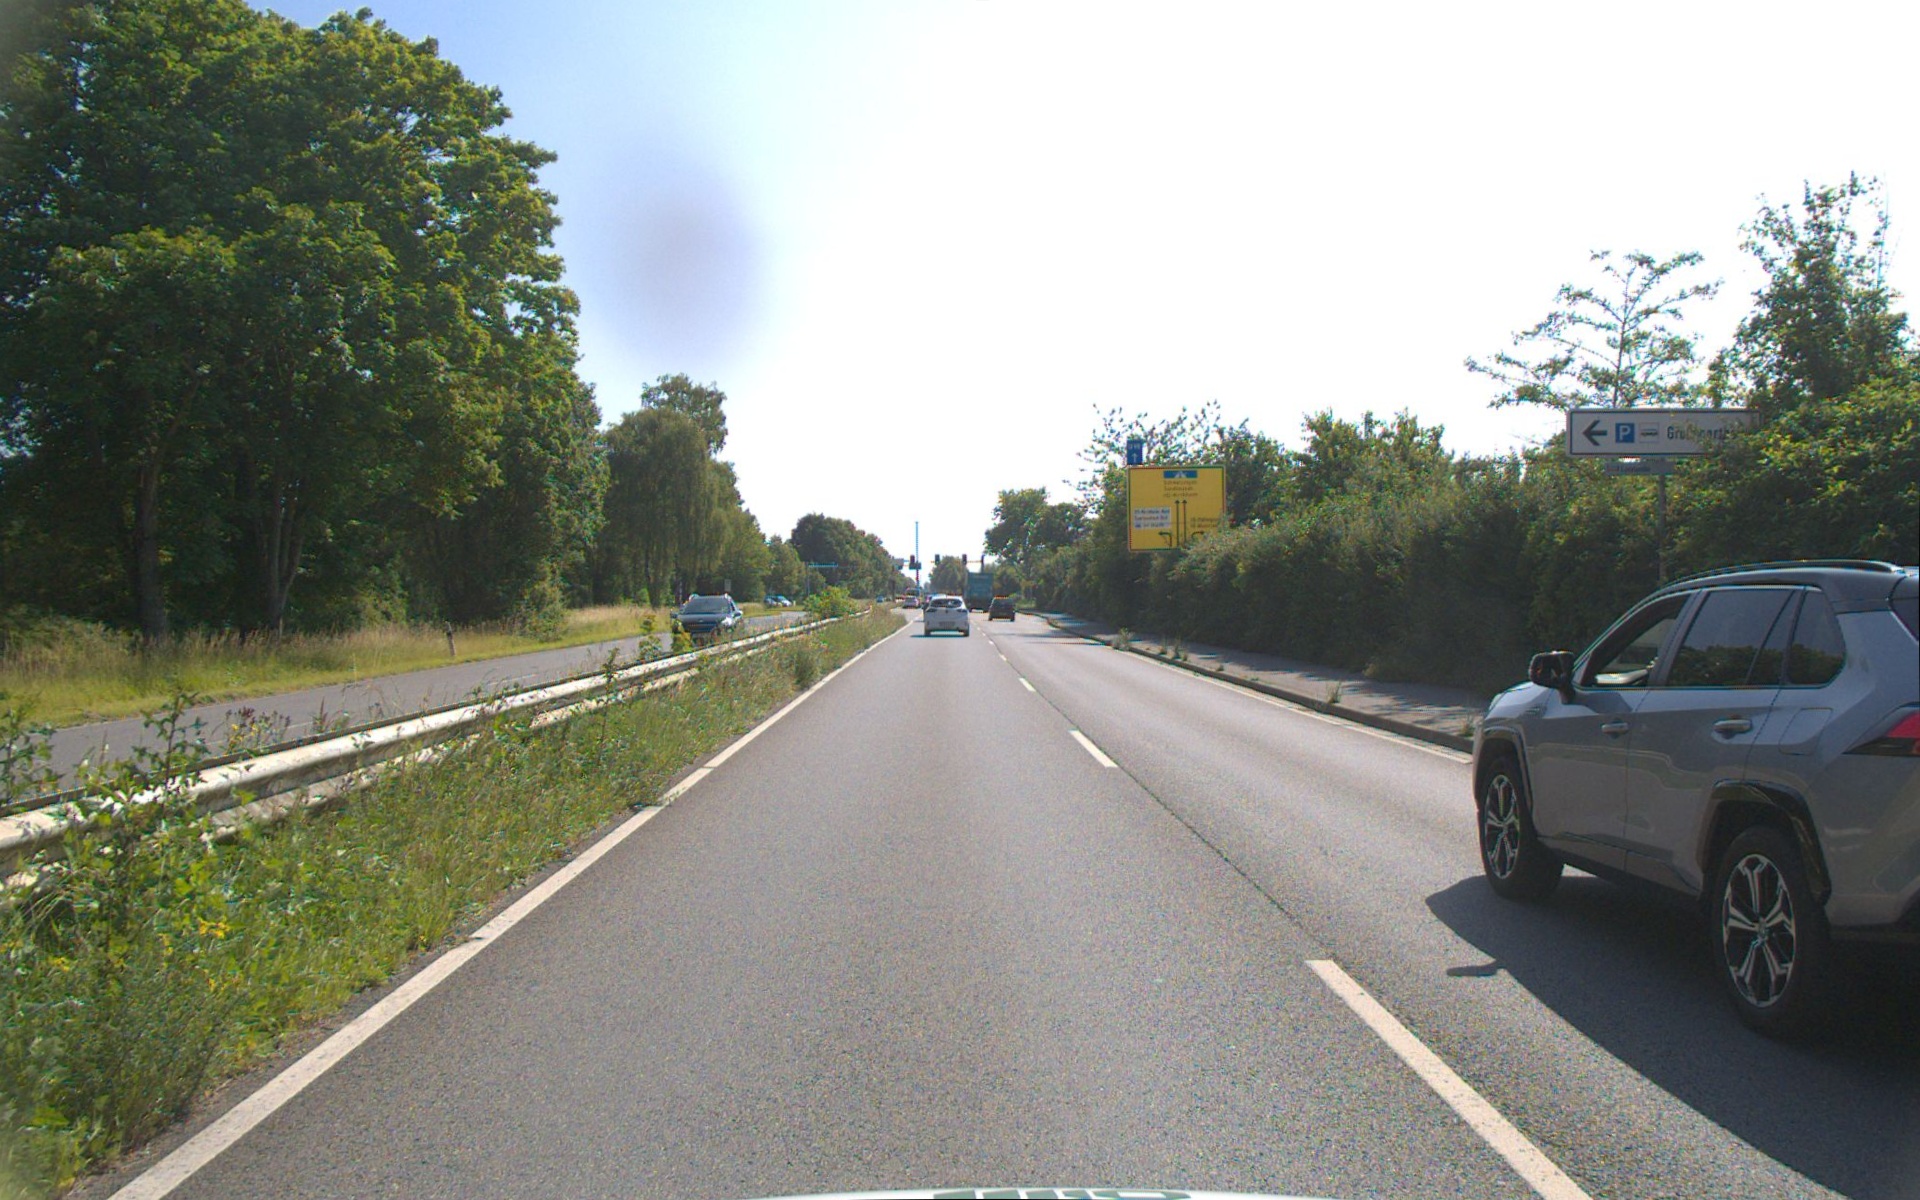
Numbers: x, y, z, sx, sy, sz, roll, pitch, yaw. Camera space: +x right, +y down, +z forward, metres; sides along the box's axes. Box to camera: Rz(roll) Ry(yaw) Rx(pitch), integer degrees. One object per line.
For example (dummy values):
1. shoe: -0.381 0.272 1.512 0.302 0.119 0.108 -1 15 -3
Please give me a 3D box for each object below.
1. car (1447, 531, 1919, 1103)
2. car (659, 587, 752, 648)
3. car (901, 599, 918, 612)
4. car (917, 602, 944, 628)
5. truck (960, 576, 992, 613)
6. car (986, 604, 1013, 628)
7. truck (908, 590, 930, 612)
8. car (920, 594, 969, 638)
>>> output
1. car: 3.777 0.670 7.123 1.863 1.709 4.682 2 0 -1
2. car: -6.990 0.469 45.803 1.742 1.557 4.162 -2 0 2
3. car: -5.988 0.643 195.936 1.775 1.490 4.971 0 0 2
4. car: -1.689 0.849 95.760 1.540 1.439 3.277 -1 0 -1
5. truck: 1.515 -0.516 162.860 2.833 3.488 9.167 -1 0 -1
6. car: 2.425 1.003 102.377 1.540 1.439 3.277 0 -1 -1
7. truck: -4.991 0.050 203.047 2.325 2.430 6.043 2 2 1
8. car: -0.550 0.574 61.802 1.762 1.580 4.000 0 1 0
